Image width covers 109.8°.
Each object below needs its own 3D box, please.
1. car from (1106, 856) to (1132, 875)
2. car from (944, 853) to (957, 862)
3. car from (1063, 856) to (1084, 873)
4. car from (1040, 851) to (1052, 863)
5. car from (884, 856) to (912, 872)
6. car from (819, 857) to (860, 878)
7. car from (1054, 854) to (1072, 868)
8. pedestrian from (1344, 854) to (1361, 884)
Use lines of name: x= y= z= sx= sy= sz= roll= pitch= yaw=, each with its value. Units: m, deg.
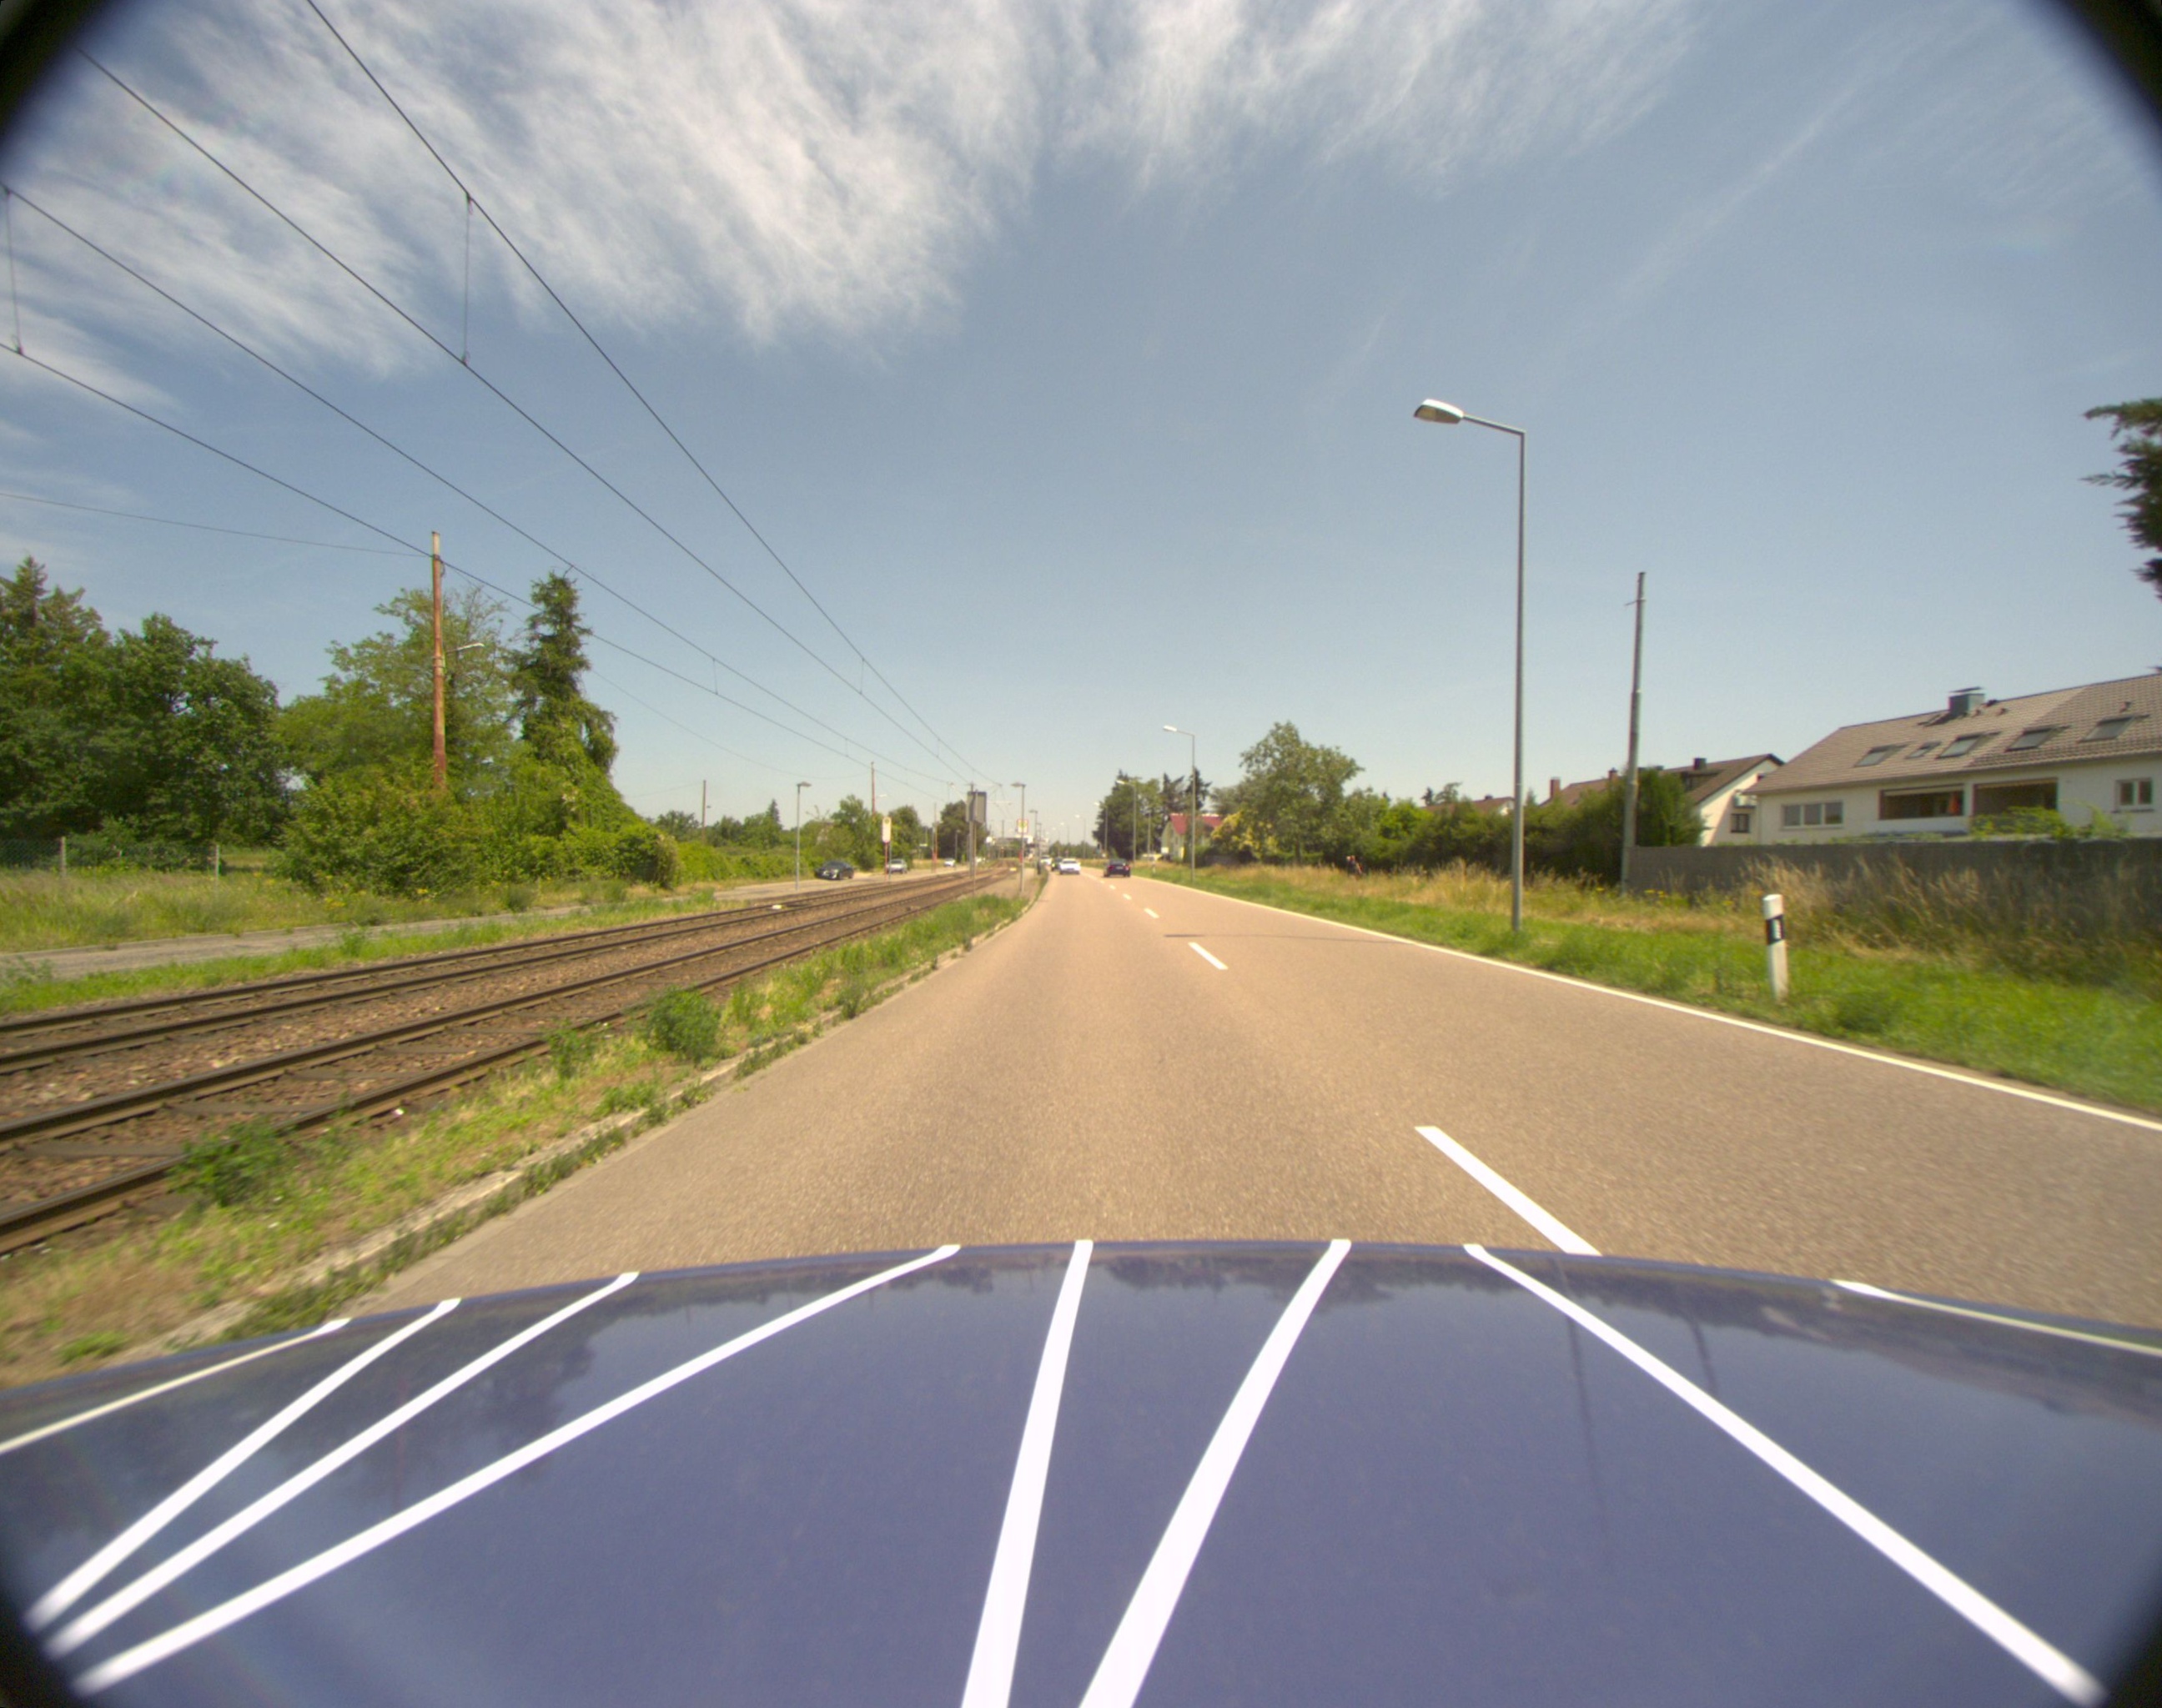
car: x=2.940 y=0.875 z=59.559 sx=1.711 sy=1.396 sz=4.707 roll=-1 pitch=0 yaw=0
car: x=-22.282 y=0.632 z=130.005 sx=1.718 sy=1.480 sz=3.999 roll=-1 pitch=0 yaw=-4
car: x=-0.661 y=0.952 z=70.717 sx=1.856 sy=1.447 sz=3.706 roll=-1 pitch=0 yaw=0
car: x=-6.115 y=0.491 z=132.921 sx=1.938 sy=2.002 sz=3.999 roll=-1 pitch=0 yaw=-2
car: x=-17.860 y=0.955 z=74.414 sx=1.944 sy=1.414 sz=3.999 roll=-1 pitch=0 yaw=-3
car: x=-17.714 y=0.990 z=55.943 sx=1.624 sy=1.414 sz=4.871 roll=-1 pitch=0 yaw=-2
car: x=-2.049 y=0.797 z=87.558 sx=1.999 sy=1.576 sz=3.999 roll=-1 pitch=0 yaw=0
pedestrian: x=13.648 y=0.748 z=38.245 sx=0.610 sy=1.469 sz=0.633 roll=-1 pitch=1 yaw=-1
